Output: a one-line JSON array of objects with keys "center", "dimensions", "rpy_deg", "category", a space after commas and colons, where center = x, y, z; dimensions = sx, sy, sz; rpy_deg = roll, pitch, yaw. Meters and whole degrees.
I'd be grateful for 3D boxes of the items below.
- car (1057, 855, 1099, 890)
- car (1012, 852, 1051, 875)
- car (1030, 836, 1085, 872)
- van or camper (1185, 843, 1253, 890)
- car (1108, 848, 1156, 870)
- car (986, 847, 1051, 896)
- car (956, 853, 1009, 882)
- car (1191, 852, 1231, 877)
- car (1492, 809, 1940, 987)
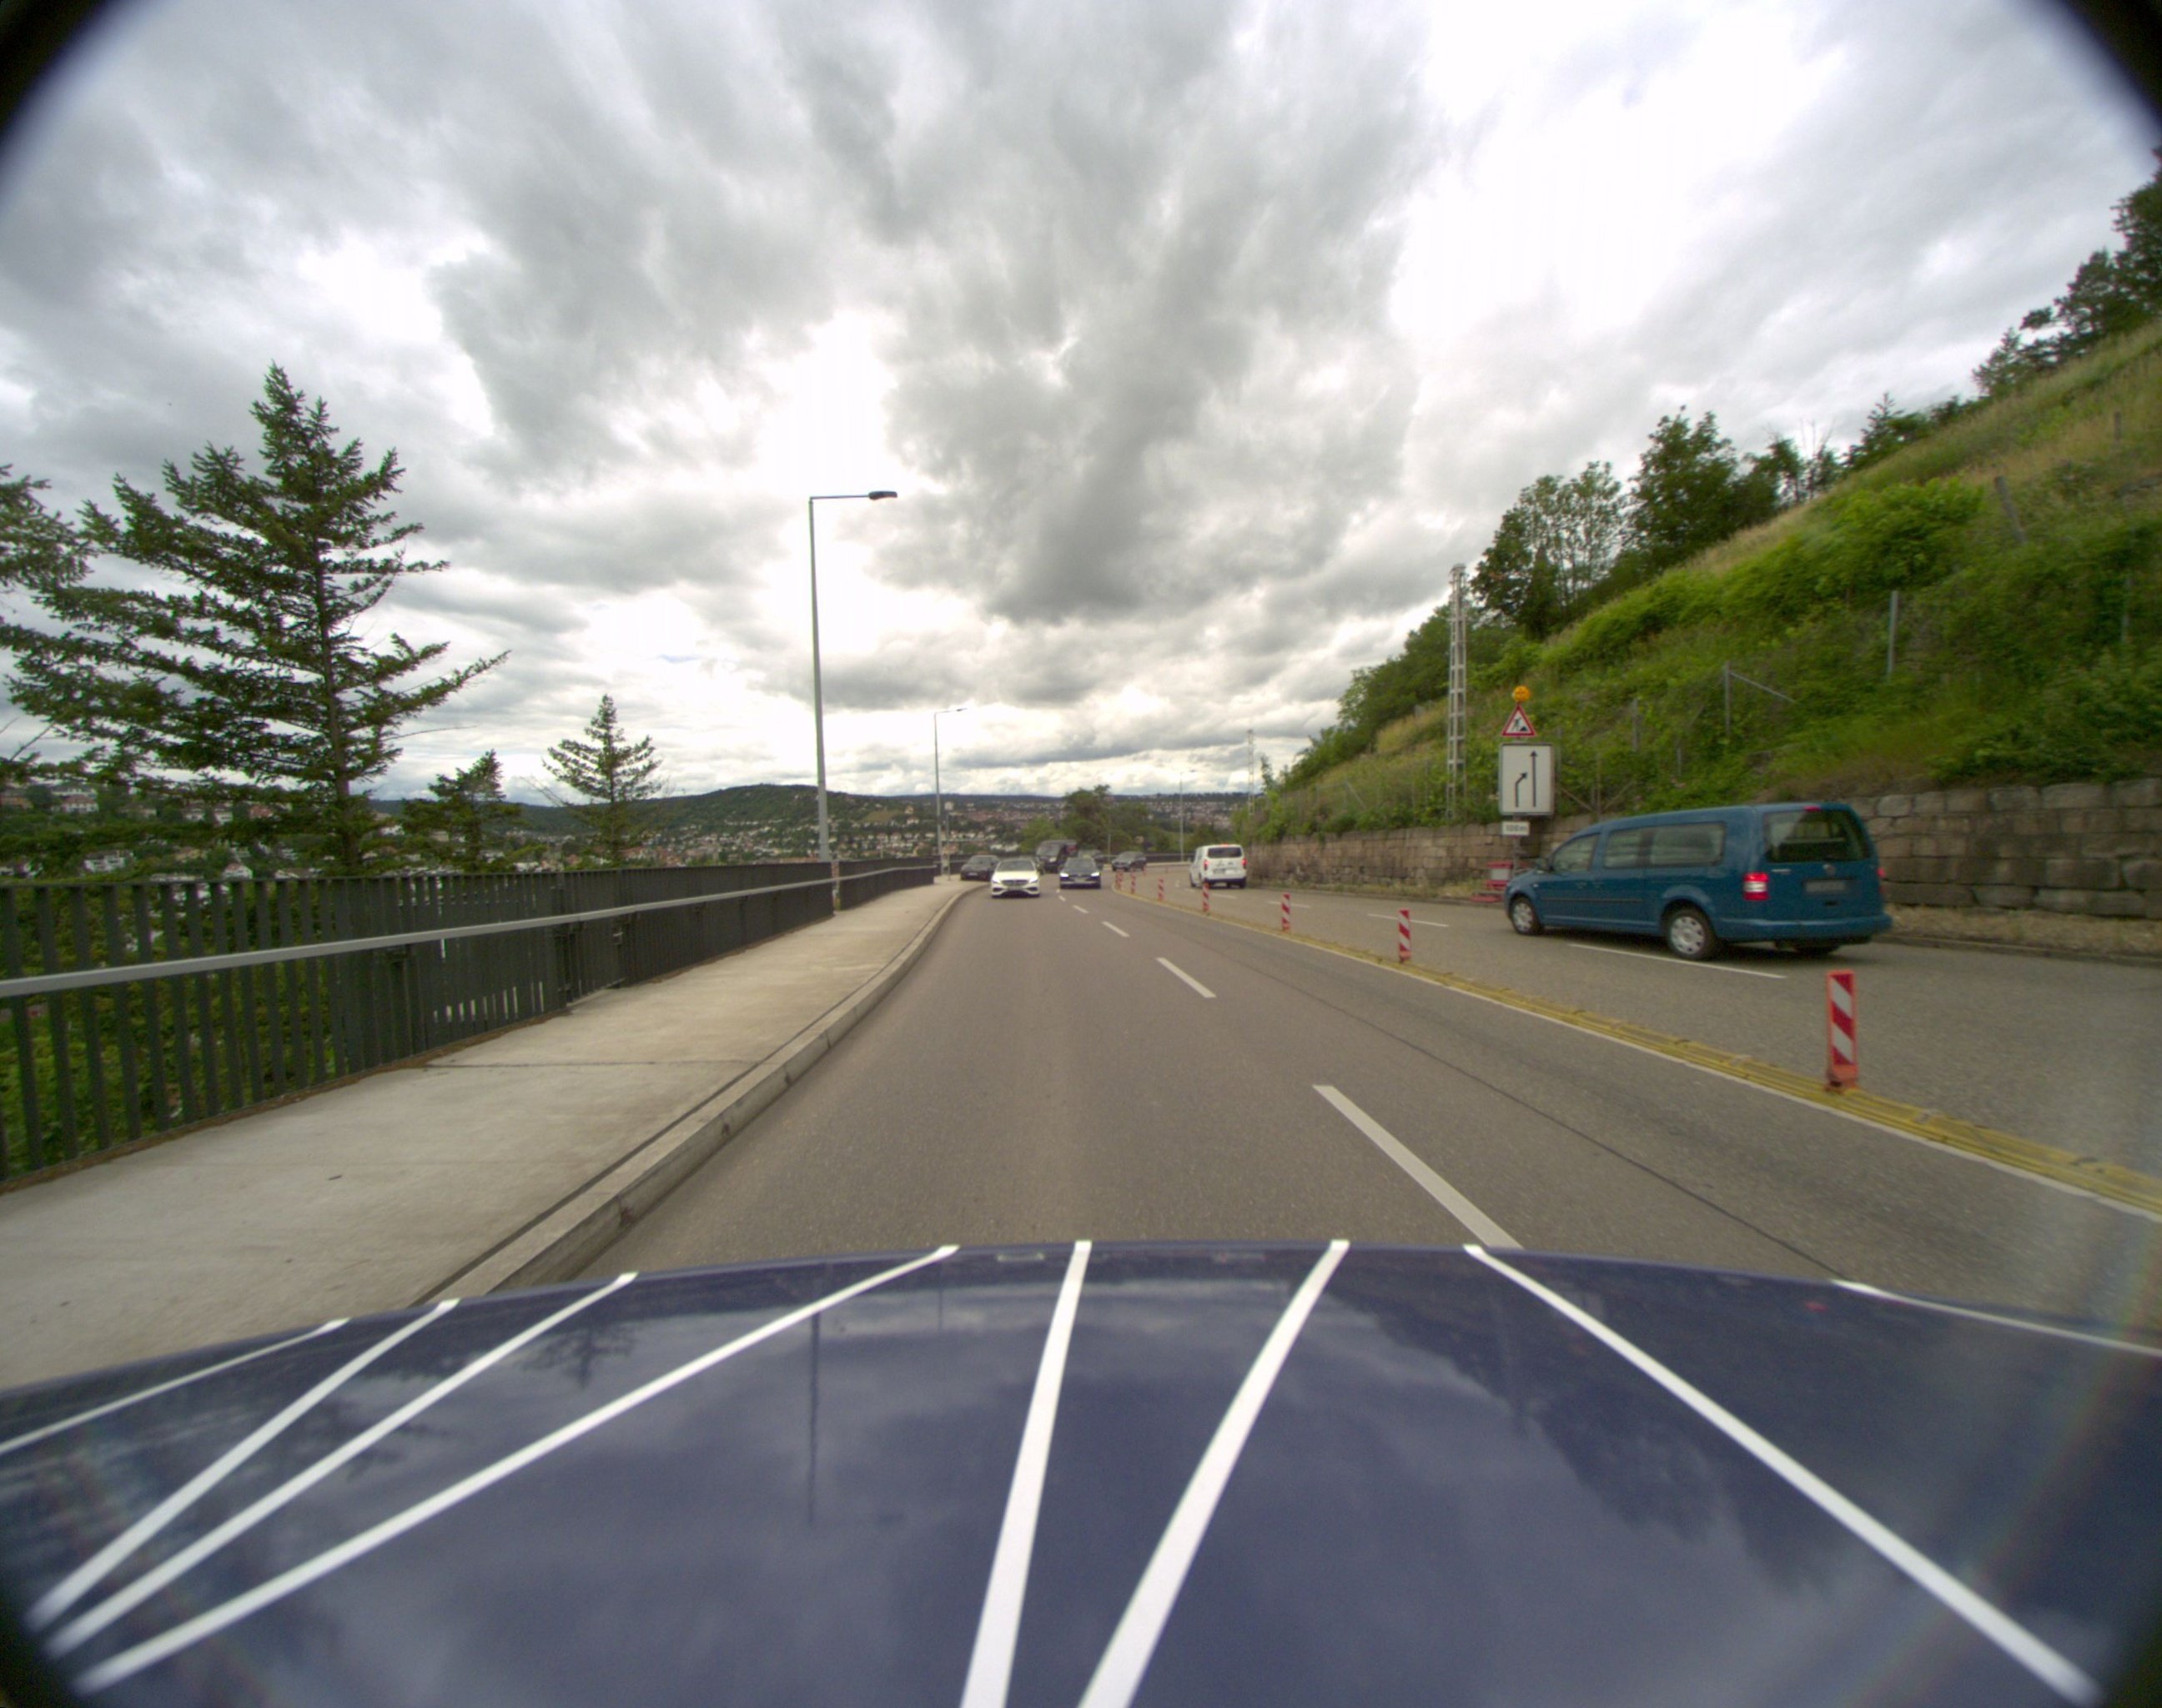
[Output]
[{"center": [-0.120, 0.827, 35.986], "dimensions": [1.900, 1.485, 4.141], "rpy_deg": [0, 1, 0], "category": "car"}, {"center": [-3.362, 0.634, 52.738], "dimensions": [1.717, 1.423, 3.853], "rpy_deg": [1, 1, 12], "category": "car"}, {"center": [-1.726, -0.044, 58.576], "dimensions": [2.168, 2.508, 5.778], "rpy_deg": [4, 2, 19], "category": "car"}, {"center": [6.337, 0.582, 35.475], "dimensions": [2.153, 2.004, 4.963], "rpy_deg": [-1, -1, -1], "category": "van or camper"}, {"center": [4.325, 0.423, 63.925], "dimensions": [1.994, 1.662, 4.547], "rpy_deg": [4, 3, 34], "category": "car"}, {"center": [-2.360, 0.729, 29.507], "dimensions": [1.998, 1.707, 4.002], "rpy_deg": [-2, -2, 2], "category": "car"}, {"center": [-5.539, 0.730, 43.308], "dimensions": [1.878, 1.534, 4.092], "rpy_deg": [0, 1, 9], "category": "car"}, {"center": [8.693, 0.693, 50.505], "dimensions": [1.866, 1.614, 4.355], "rpy_deg": [0, -1, 19], "category": "car"}, {"center": [7.947, 0.465, 10.316], "dimensions": [1.856, 1.772, 4.732], "rpy_deg": [-3, 0, -4], "category": "car"}]
